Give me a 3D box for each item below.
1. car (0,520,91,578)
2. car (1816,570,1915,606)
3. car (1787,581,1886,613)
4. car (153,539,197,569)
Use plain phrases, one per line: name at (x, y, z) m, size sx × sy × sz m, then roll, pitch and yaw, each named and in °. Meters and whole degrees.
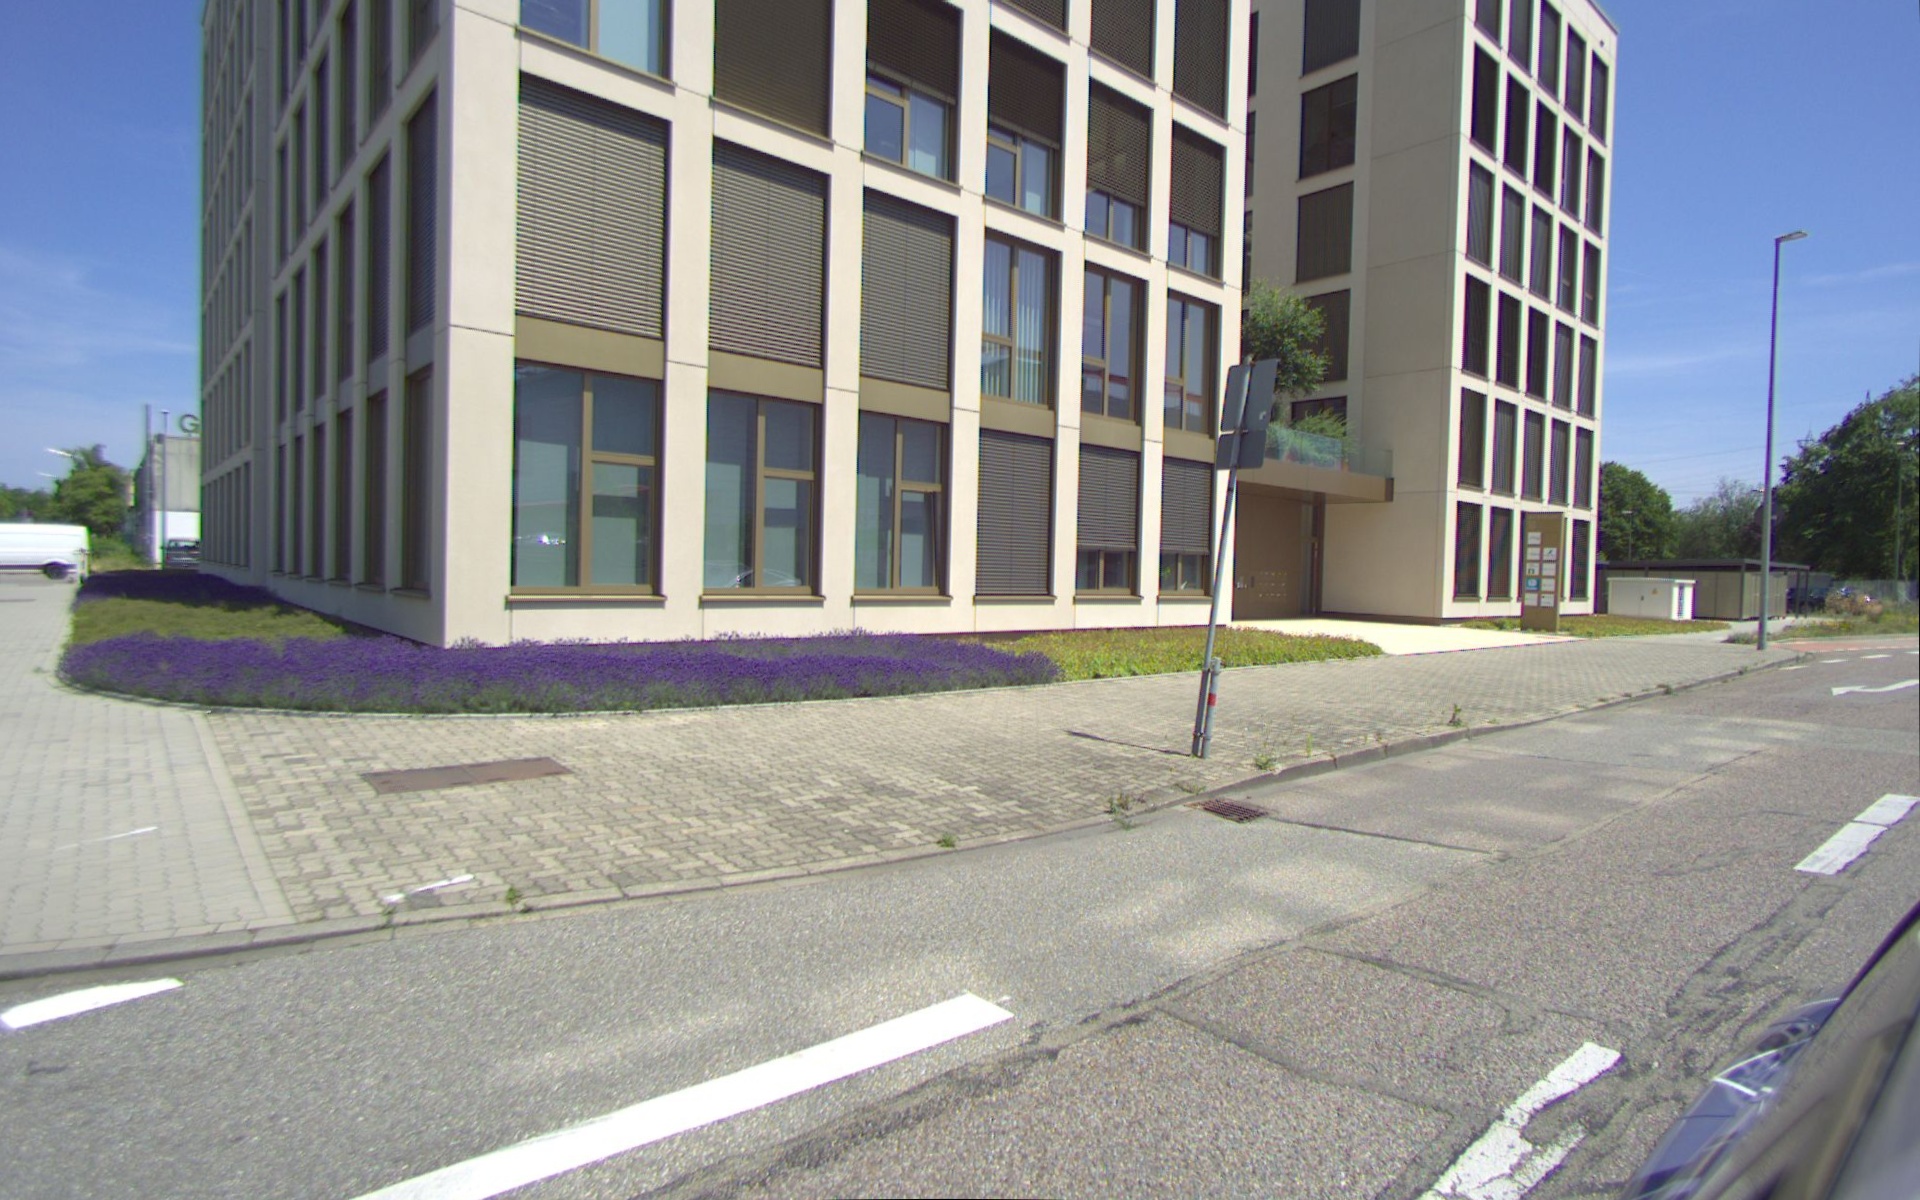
car at (-44.220, -2.398, 47.038) m, size 5.696 × 2.565 × 2.101 m, roll 1°, pitch 1°, yaw -39°
car at (54.854, -0.741, 61.423) m, size 3.957 × 1.977 × 1.984 m, roll 2°, pitch 2°, yaw 24°
car at (51.380, -0.194, 59.389) m, size 3.959 × 1.682 × 1.823 m, roll 2°, pitch 2°, yaw 26°
car at (-42.354, -2.486, 54.591) m, size 1.758 × 1.541 × 3.573 m, roll 0°, pitch 3°, yaw -40°
